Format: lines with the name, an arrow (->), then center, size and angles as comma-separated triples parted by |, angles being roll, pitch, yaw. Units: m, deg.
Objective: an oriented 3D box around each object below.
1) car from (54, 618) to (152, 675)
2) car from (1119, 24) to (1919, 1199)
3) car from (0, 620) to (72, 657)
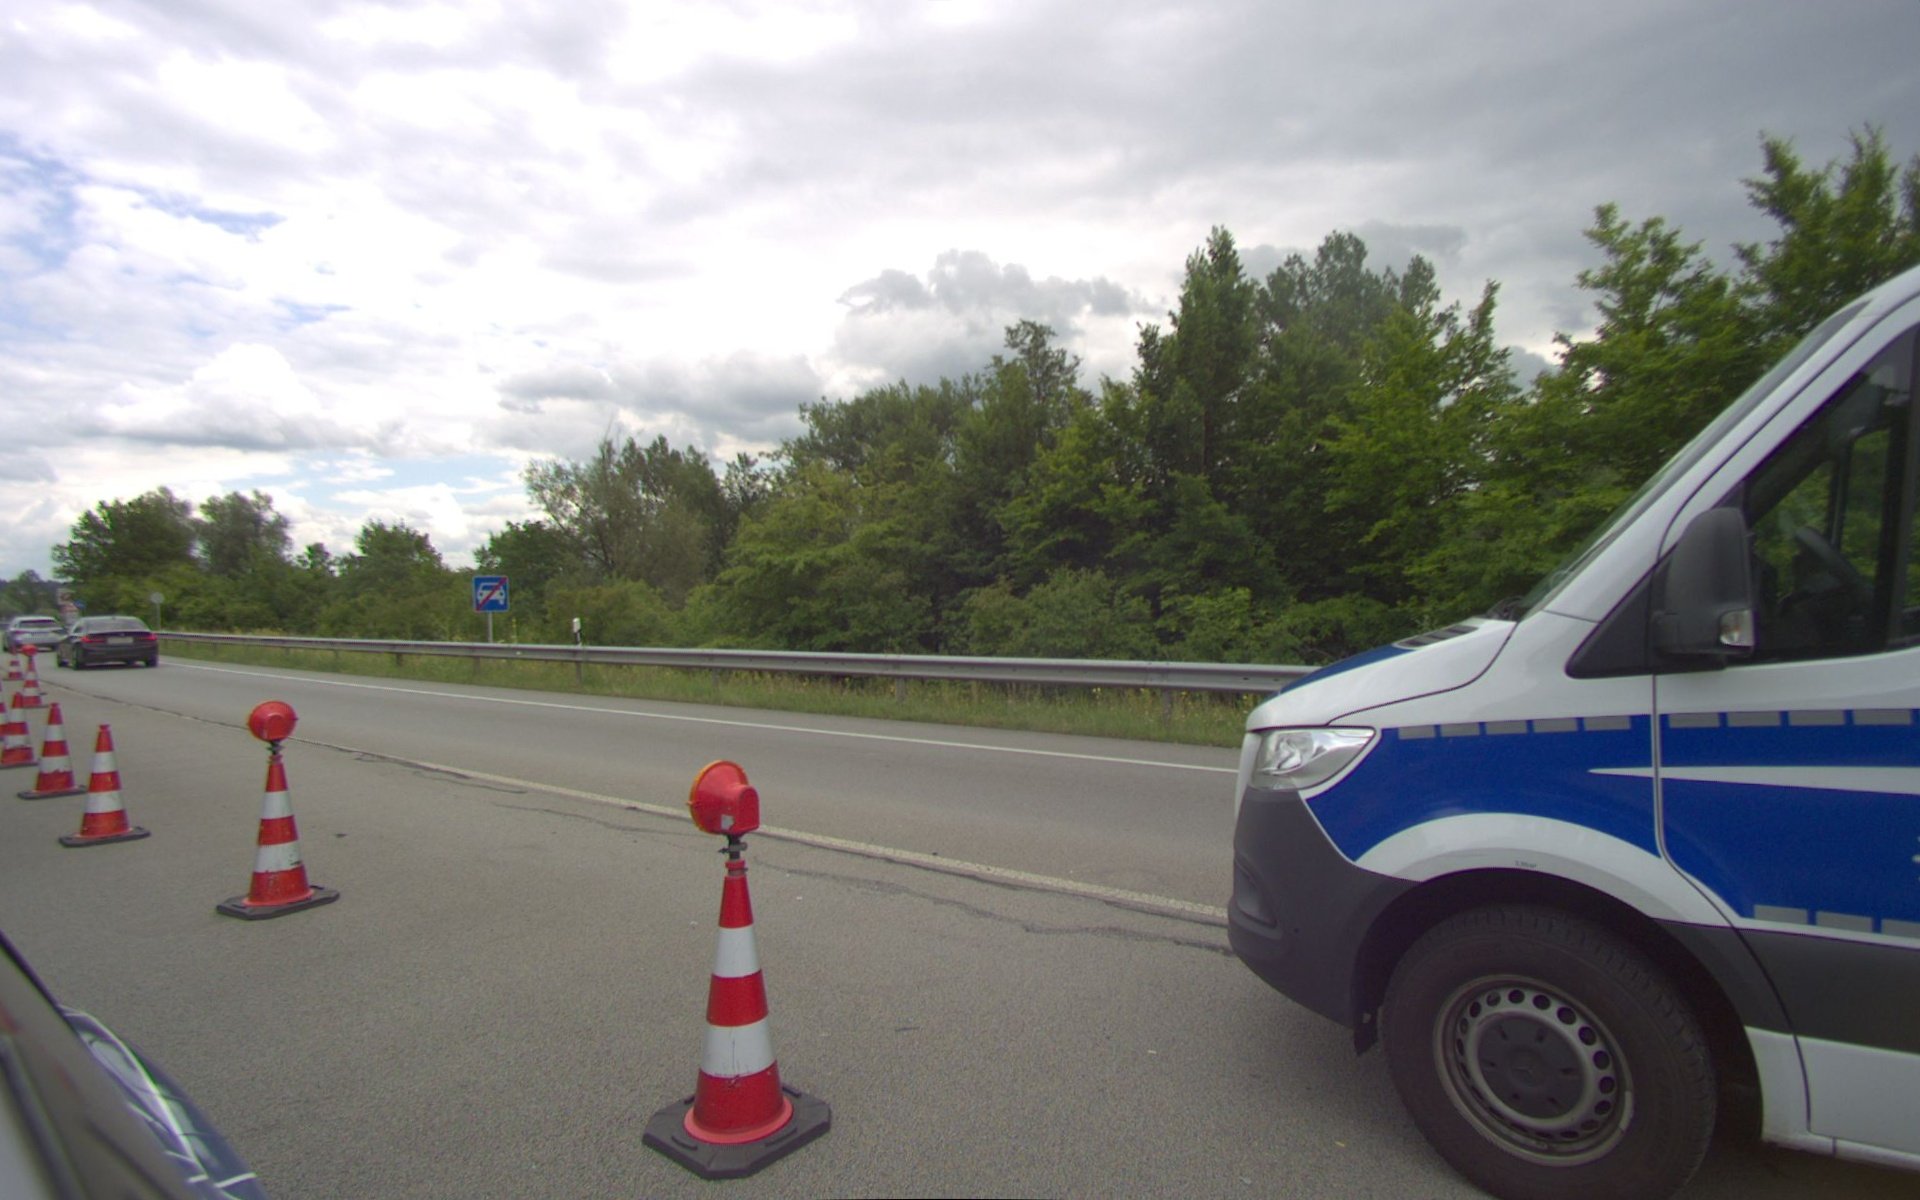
car -> -24.247, 1.262, 28.570 | 4.338, 1.447, 1.690 | -1, -1, 44
car -> 3.160, 0.139, 2.123 | 5.272, 2.482, 2.010 | -1, -1, 38
car -> -37.995, 1.551, 41.554 | 4.370, 1.412, 1.662 | -1, -1, 39
